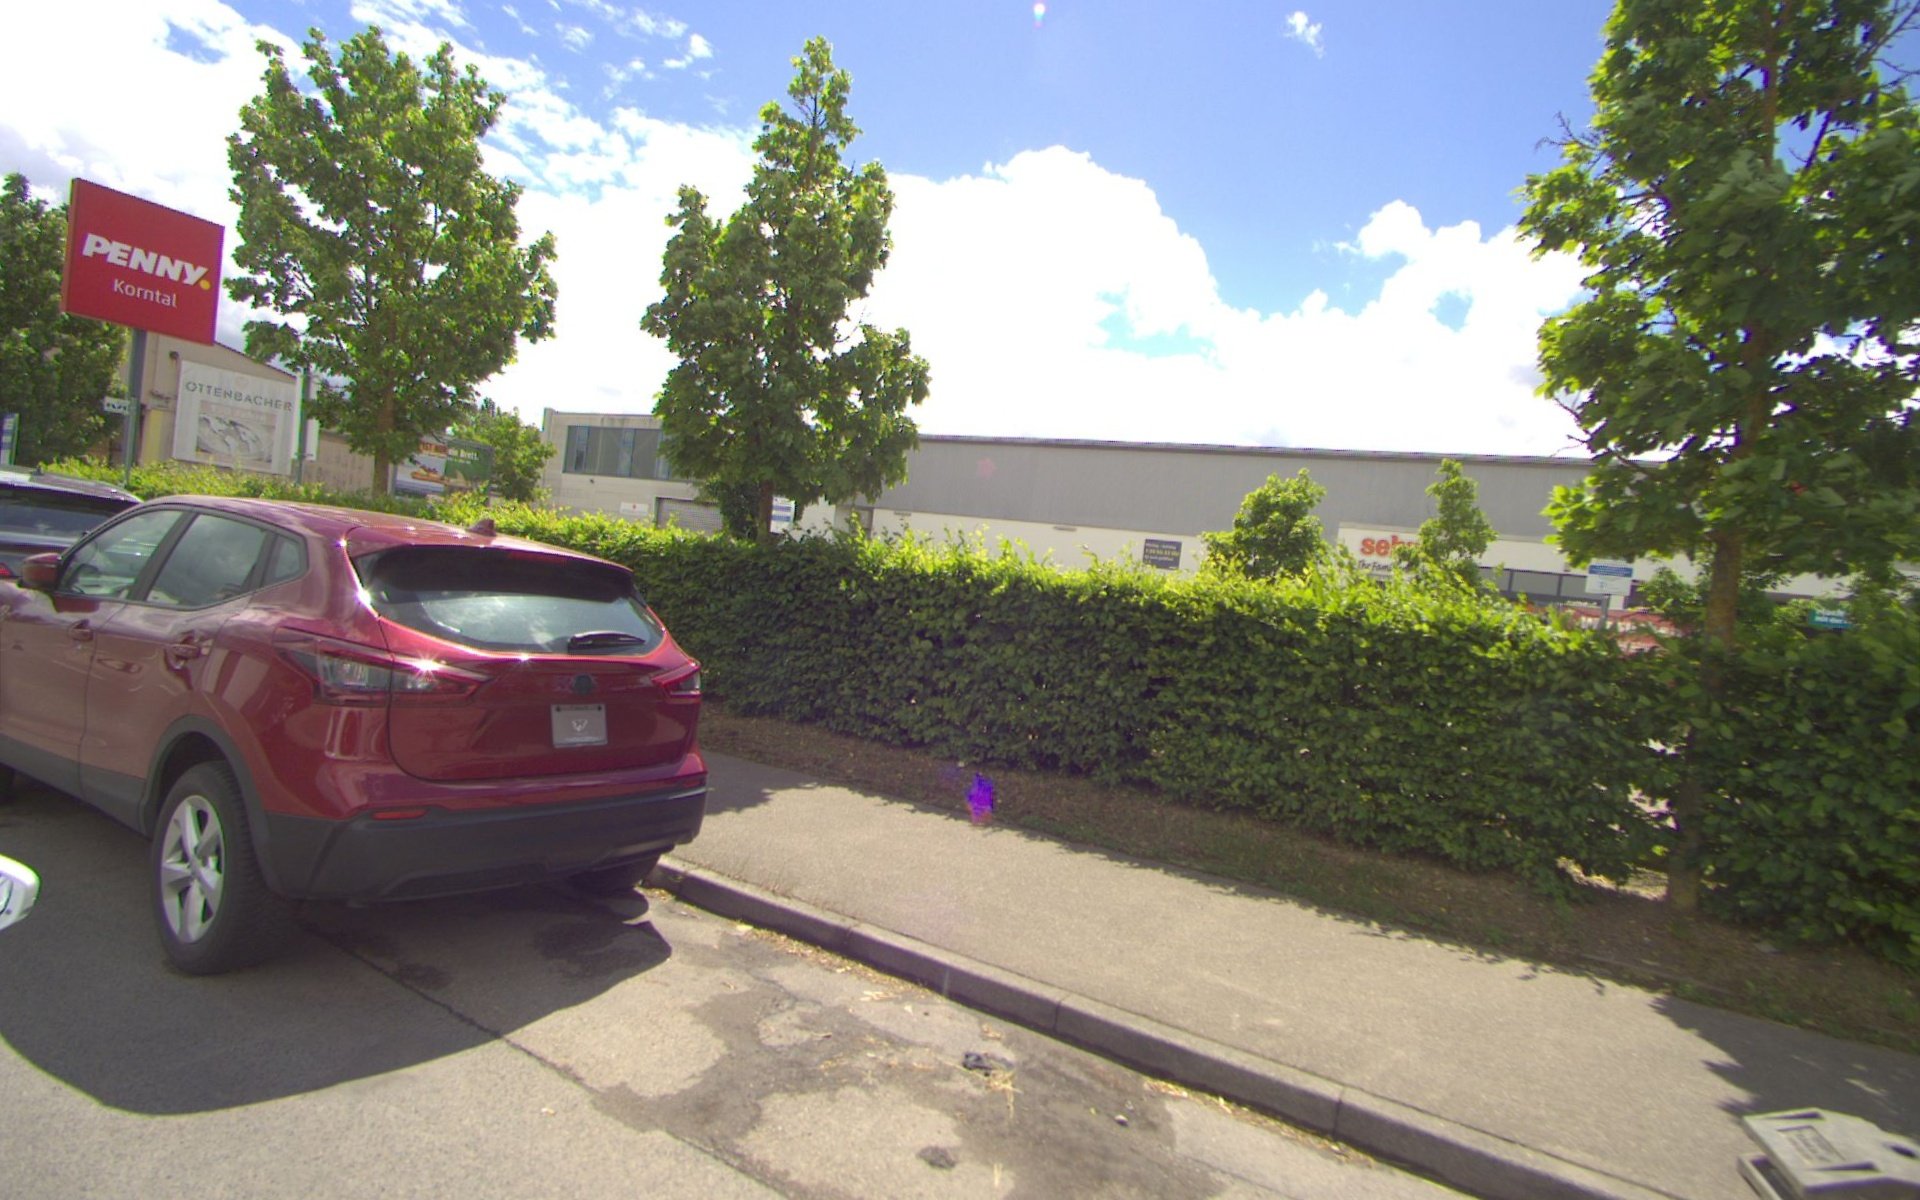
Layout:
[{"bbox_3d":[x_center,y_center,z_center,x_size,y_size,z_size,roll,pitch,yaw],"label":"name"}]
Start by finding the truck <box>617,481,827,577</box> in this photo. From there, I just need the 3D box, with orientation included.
[{"bbox_3d":[-12.196,-3.556,53.380,2.930,2.897,12.004,7,-2,32],"label":"truck"}]

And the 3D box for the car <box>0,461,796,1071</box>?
[{"bbox_3d":[-3.120,0.327,4.758,4.374,1.591,1.942,7,1,34],"label":"car"}]

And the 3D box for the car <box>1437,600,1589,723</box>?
[{"bbox_3d":[9.885,1.173,18.031,1.966,1.725,3.997,8,-2,30],"label":"car"}]

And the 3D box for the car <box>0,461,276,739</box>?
[{"bbox_3d":[-7.148,-0.205,7.189,4.370,1.591,1.944,7,1,30],"label":"car"}]
